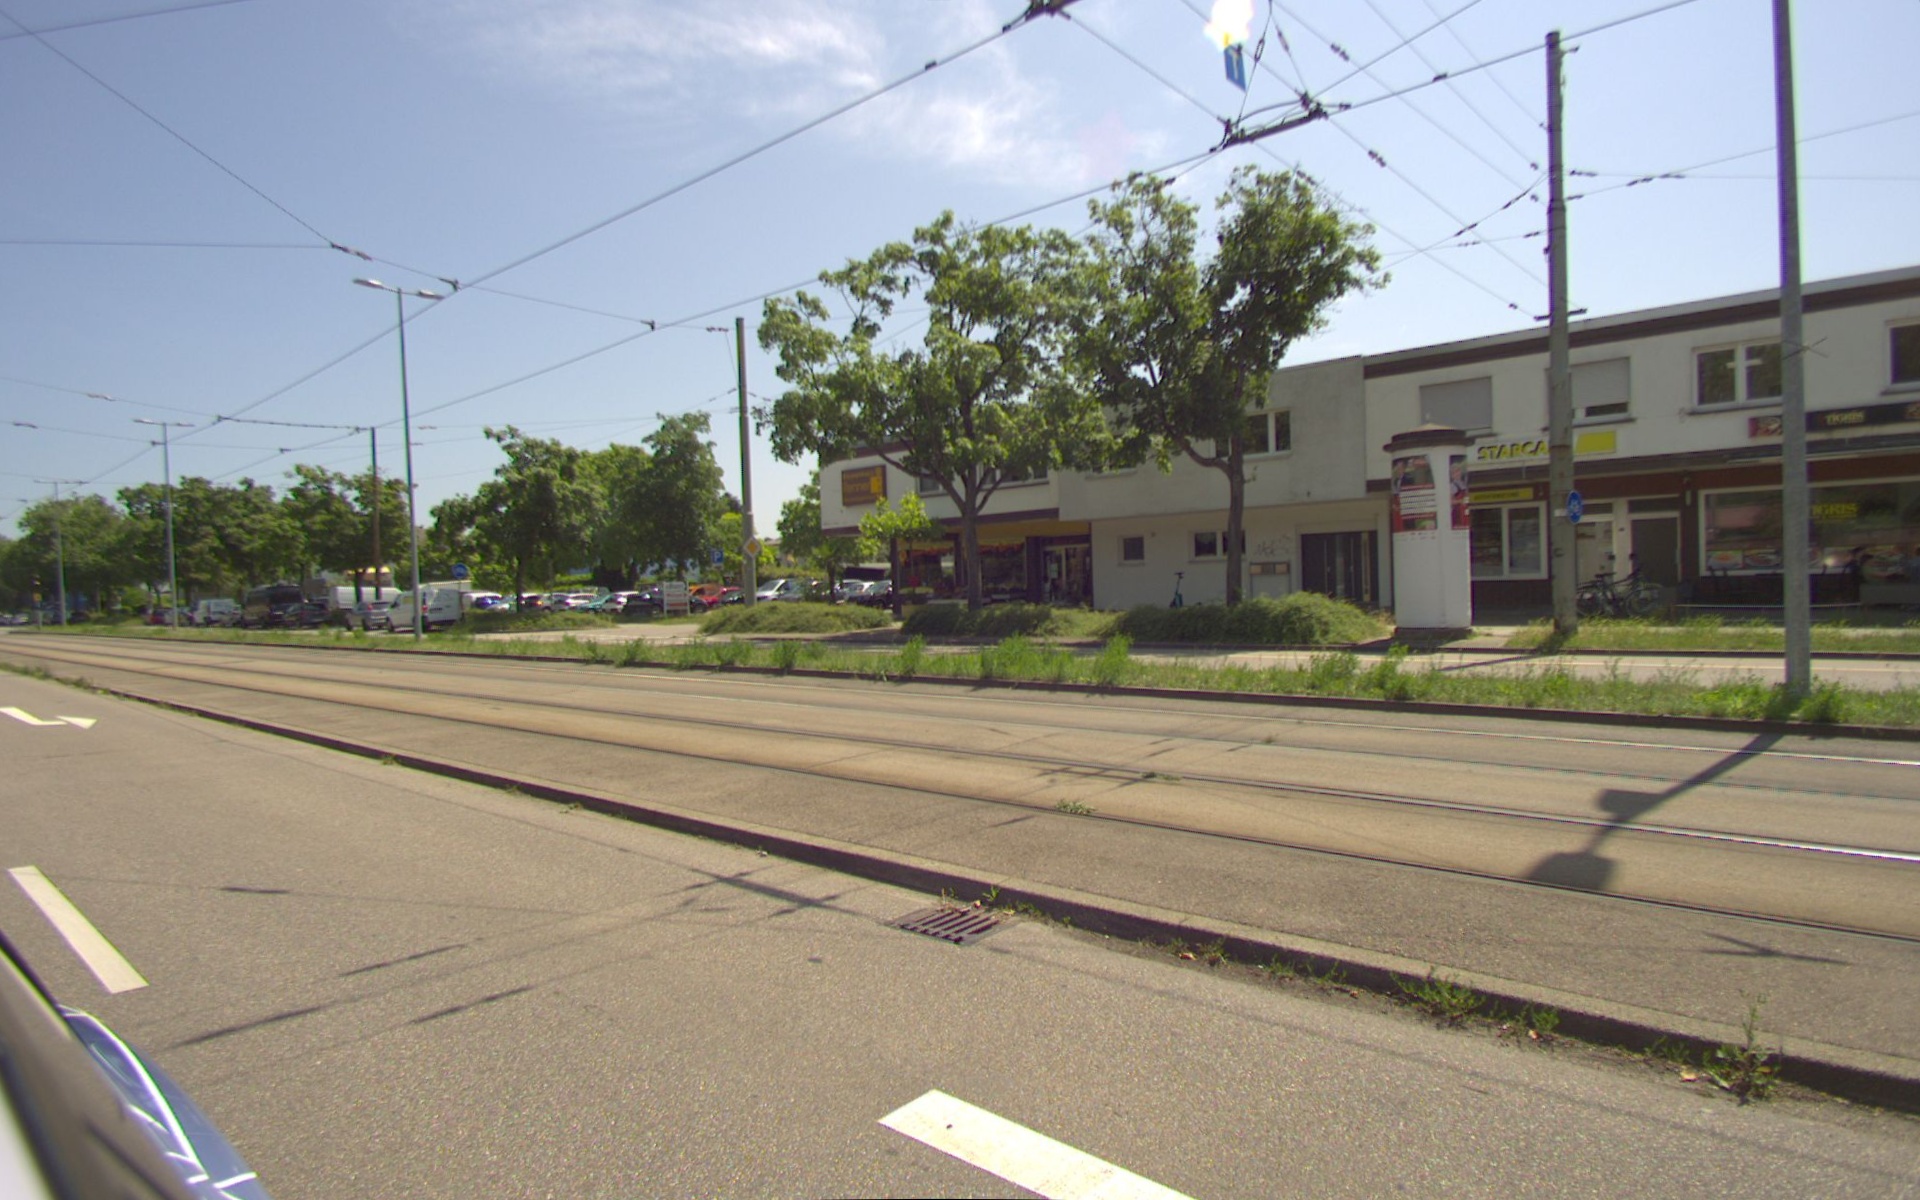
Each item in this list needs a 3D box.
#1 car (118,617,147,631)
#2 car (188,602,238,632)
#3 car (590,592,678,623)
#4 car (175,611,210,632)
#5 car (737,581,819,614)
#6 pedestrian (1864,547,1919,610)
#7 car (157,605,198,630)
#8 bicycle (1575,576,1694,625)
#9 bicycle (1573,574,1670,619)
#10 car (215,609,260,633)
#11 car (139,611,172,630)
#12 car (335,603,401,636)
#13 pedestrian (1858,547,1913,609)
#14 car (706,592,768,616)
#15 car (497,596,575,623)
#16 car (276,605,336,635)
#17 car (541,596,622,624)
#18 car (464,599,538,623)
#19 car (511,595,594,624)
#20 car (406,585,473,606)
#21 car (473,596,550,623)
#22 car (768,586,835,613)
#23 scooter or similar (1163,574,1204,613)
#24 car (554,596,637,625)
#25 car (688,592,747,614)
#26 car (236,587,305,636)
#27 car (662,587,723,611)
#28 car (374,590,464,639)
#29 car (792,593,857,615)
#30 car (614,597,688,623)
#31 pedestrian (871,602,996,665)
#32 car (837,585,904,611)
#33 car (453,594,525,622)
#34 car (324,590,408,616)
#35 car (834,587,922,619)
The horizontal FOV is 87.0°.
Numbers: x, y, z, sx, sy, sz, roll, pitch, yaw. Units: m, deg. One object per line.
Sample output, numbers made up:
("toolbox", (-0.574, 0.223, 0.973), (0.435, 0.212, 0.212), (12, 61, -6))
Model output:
("car", (-73.933, 2.147, 90.429), (3.423, 1.167, 1.561), (0, 0, 43))
("car", (-52.543, 1.169, 71.136), (4.816, 1.963, 1.899), (0, 0, 42))
("car", (-17.691, 0.400, 55.014), (1.983, 1.501, 4.120), (-1, 1, 39))
("car", (-56.705, 1.565, 74.778), (3.261, 1.489, 1.411), (0, 0, 41))
("car", (-11.808, -0.156, 65.910), (2.225, 2.085, 5.055), (0, 0, 41))
("pedestrian", (19.243, -0.439, 20.891), (0.842, 1.278, 0.583), (0, 0, 41))
("car", (-60.233, 1.330, 77.882), (4.495, 1.907, 1.614), (0, 0, 41))
("bicycle", (14.215, 0.007, 21.373), (2.028, 0.986, 0.604), (0, 0, 41))
("bicycle", (14.797, -0.078, 22.674), (1.758, 0.986, 0.533), (0, 0, 41))
("car", (-48.091, 1.370, 67.338), (3.608, 1.475, 1.744), (0, 0, 42))
("car", (-65.211, 1.638, 82.027), (3.423, 1.491, 1.561), (0, 0, 43))
("car", (-30.081, 0.976, 51.371), (4.124, 1.513, 1.633), (-1, 4, 42))
("pedestrian", (19.672, -0.463, 21.521), (0.842, 1.278, 0.583), (0, 0, 41))
("car", (-15.298, 0.281, 69.503), (1.683, 1.597, 3.948), (0, 0, 39))
("car", (-25.741, 0.562, 61.561), (1.827, 1.501, 4.030), (-1, 1, 34))
("car", (-37.326, 1.117, 57.757), (3.751, 1.589, 1.950), (0, 0, 42))
("car", (-21.716, 0.547, 58.205), (1.855, 1.501, 4.099), (0, 0, 34))
("car", (-29.533, 0.702, 65.212), (1.794, 1.417, 3.950), (-1, 0, 37))
("car", (-23.868, 0.547, 59.391), (2.018, 1.501, 4.117), (-1, 1, 34))
("car", (-52.859, -0.445, 102.826), (2.145, 2.078, 5.674), (0, 0, 38))
("car", (-27.854, 0.584, 62.921), (1.862, 1.499, 3.955), (-1, 1, 34))
("car", (-10.028, -0.039, 64.261), (1.804, 1.669, 3.943), (0, 0, 43))
("scooter or similar", (6.930, -0.194, 31.427), (0.448, 1.200, 1.349), (0, 0, -29))
("car", (-20.185, 0.572, 56.209), (1.908, 1.501, 3.995), (0, 0, 34))
("car", (-17.127, 0.199, 71.590), (1.712, 1.505, 3.953), (0, 0, 35))
("car", (-42.199, 0.650, 61.860), (5.666, 2.859, 2.214), (0, 0, 42))
("car", (-19.173, -0.101, 72.708), (1.689, 1.665, 4.082), (-1, 0, 35))
("car", (-25.252, 0.654, 47.118), (5.342, 2.025, 1.856), (-1, 4, 42))
("car", (-8.304, 0.214, 62.107), (1.764, 1.294, 3.675), (0, 0, 43))
("car", (-16.120, 0.519, 52.888), (1.639, 1.241, 3.385), (-1, 1, 34))
("pedestrian", (-0.941, 1.088, 34.847), (3.997, 2.029, 1.973), (0, 0, 40))
("car", (-5.404, -0.131, 61.125), (1.661, 1.531, 3.943), (0, 0, 43))
("car", (-31.262, 0.504, 67.287), (1.794, 1.730, 3.951), (-1, 1, 37))
("car", (-46.348, 0.238, 79.040), (2.029, 1.970, 5.363), (0, 0, 42))
("car", (-3.741, 0.117, 46.864), (1.682, 1.306, 3.944), (-2, 1, 42))
